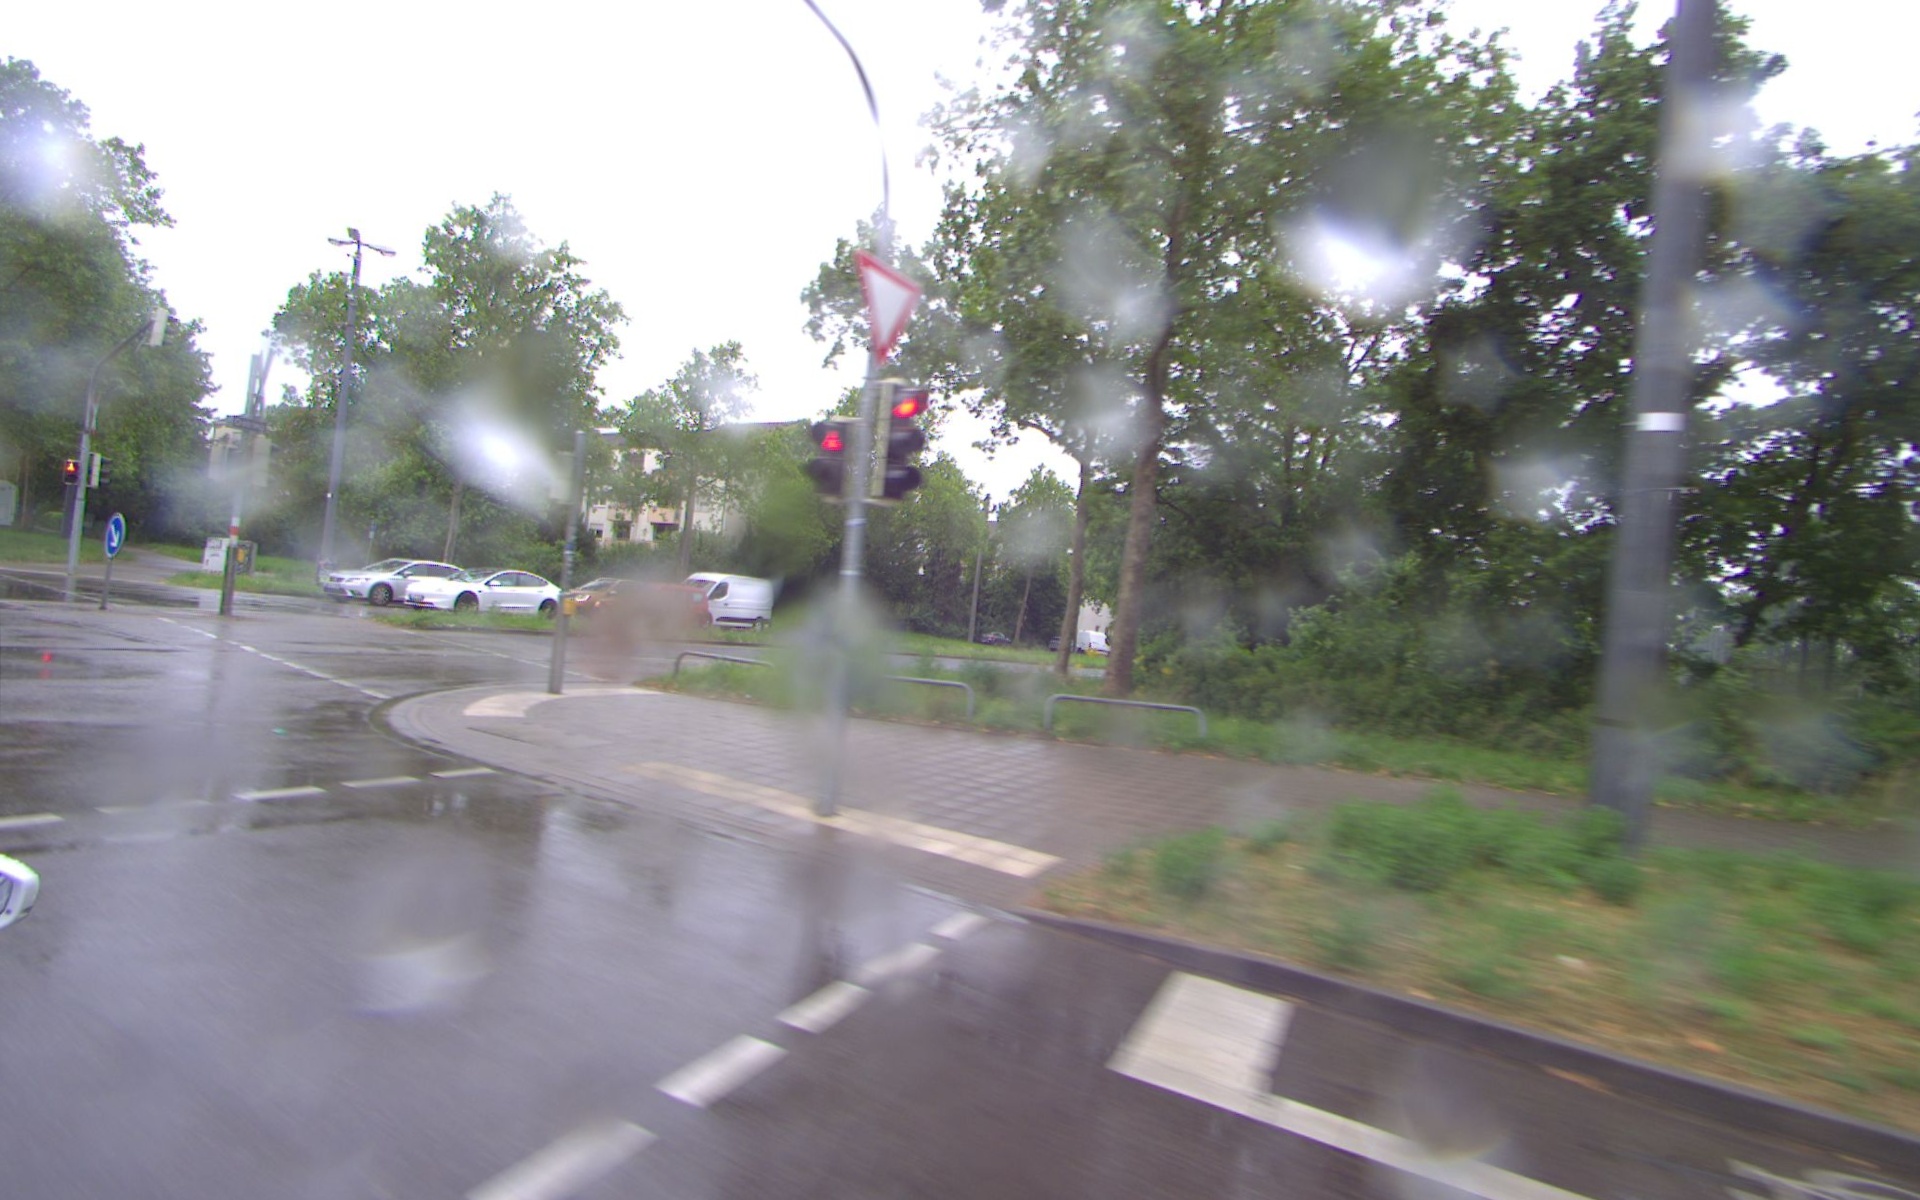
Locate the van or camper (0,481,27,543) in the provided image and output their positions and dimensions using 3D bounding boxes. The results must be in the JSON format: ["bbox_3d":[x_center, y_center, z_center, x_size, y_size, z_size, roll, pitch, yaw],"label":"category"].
[{"bbox_3d":[-54.897,-5.251,53.611,7.306,3.214,3.223,10,-3,-44],"label":"van or camper"}]

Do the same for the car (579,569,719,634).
[{"bbox_3d":[-10.534,0.109,34.437,1.759,1.625,4.619,6,-3,26],"label":"car"}]

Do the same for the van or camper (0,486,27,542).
[{"bbox_3d":[-61.128,-5.694,60.102,7.398,3.214,3.228,9,-3,-40],"label":"van or camper"}]

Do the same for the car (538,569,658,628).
[{"bbox_3d":[-13.251,-0.015,37.086,1.758,1.625,4.072,6,-3,22],"label":"car"}]

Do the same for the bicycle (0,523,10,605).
[{"bbox_3d":[-14.108,-0.584,13.925,1.852,1.130,0.693,5,-2,26],"label":"bicycle"}]

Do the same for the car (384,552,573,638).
[{"bbox_3d":[-13.512,-0.065,28.594,1.899,1.849,4.612,6,-3,22],"label":"car"}]

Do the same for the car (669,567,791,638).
[{"bbox_3d":[-9.943,0.191,44.099,1.964,2.419,5.624,6,-3,25],"label":"car"}]

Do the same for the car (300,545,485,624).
[{"bbox_3d":[-16.638,-0.383,29.787,1.899,1.710,4.410,6,-3,22],"label":"car"}]
